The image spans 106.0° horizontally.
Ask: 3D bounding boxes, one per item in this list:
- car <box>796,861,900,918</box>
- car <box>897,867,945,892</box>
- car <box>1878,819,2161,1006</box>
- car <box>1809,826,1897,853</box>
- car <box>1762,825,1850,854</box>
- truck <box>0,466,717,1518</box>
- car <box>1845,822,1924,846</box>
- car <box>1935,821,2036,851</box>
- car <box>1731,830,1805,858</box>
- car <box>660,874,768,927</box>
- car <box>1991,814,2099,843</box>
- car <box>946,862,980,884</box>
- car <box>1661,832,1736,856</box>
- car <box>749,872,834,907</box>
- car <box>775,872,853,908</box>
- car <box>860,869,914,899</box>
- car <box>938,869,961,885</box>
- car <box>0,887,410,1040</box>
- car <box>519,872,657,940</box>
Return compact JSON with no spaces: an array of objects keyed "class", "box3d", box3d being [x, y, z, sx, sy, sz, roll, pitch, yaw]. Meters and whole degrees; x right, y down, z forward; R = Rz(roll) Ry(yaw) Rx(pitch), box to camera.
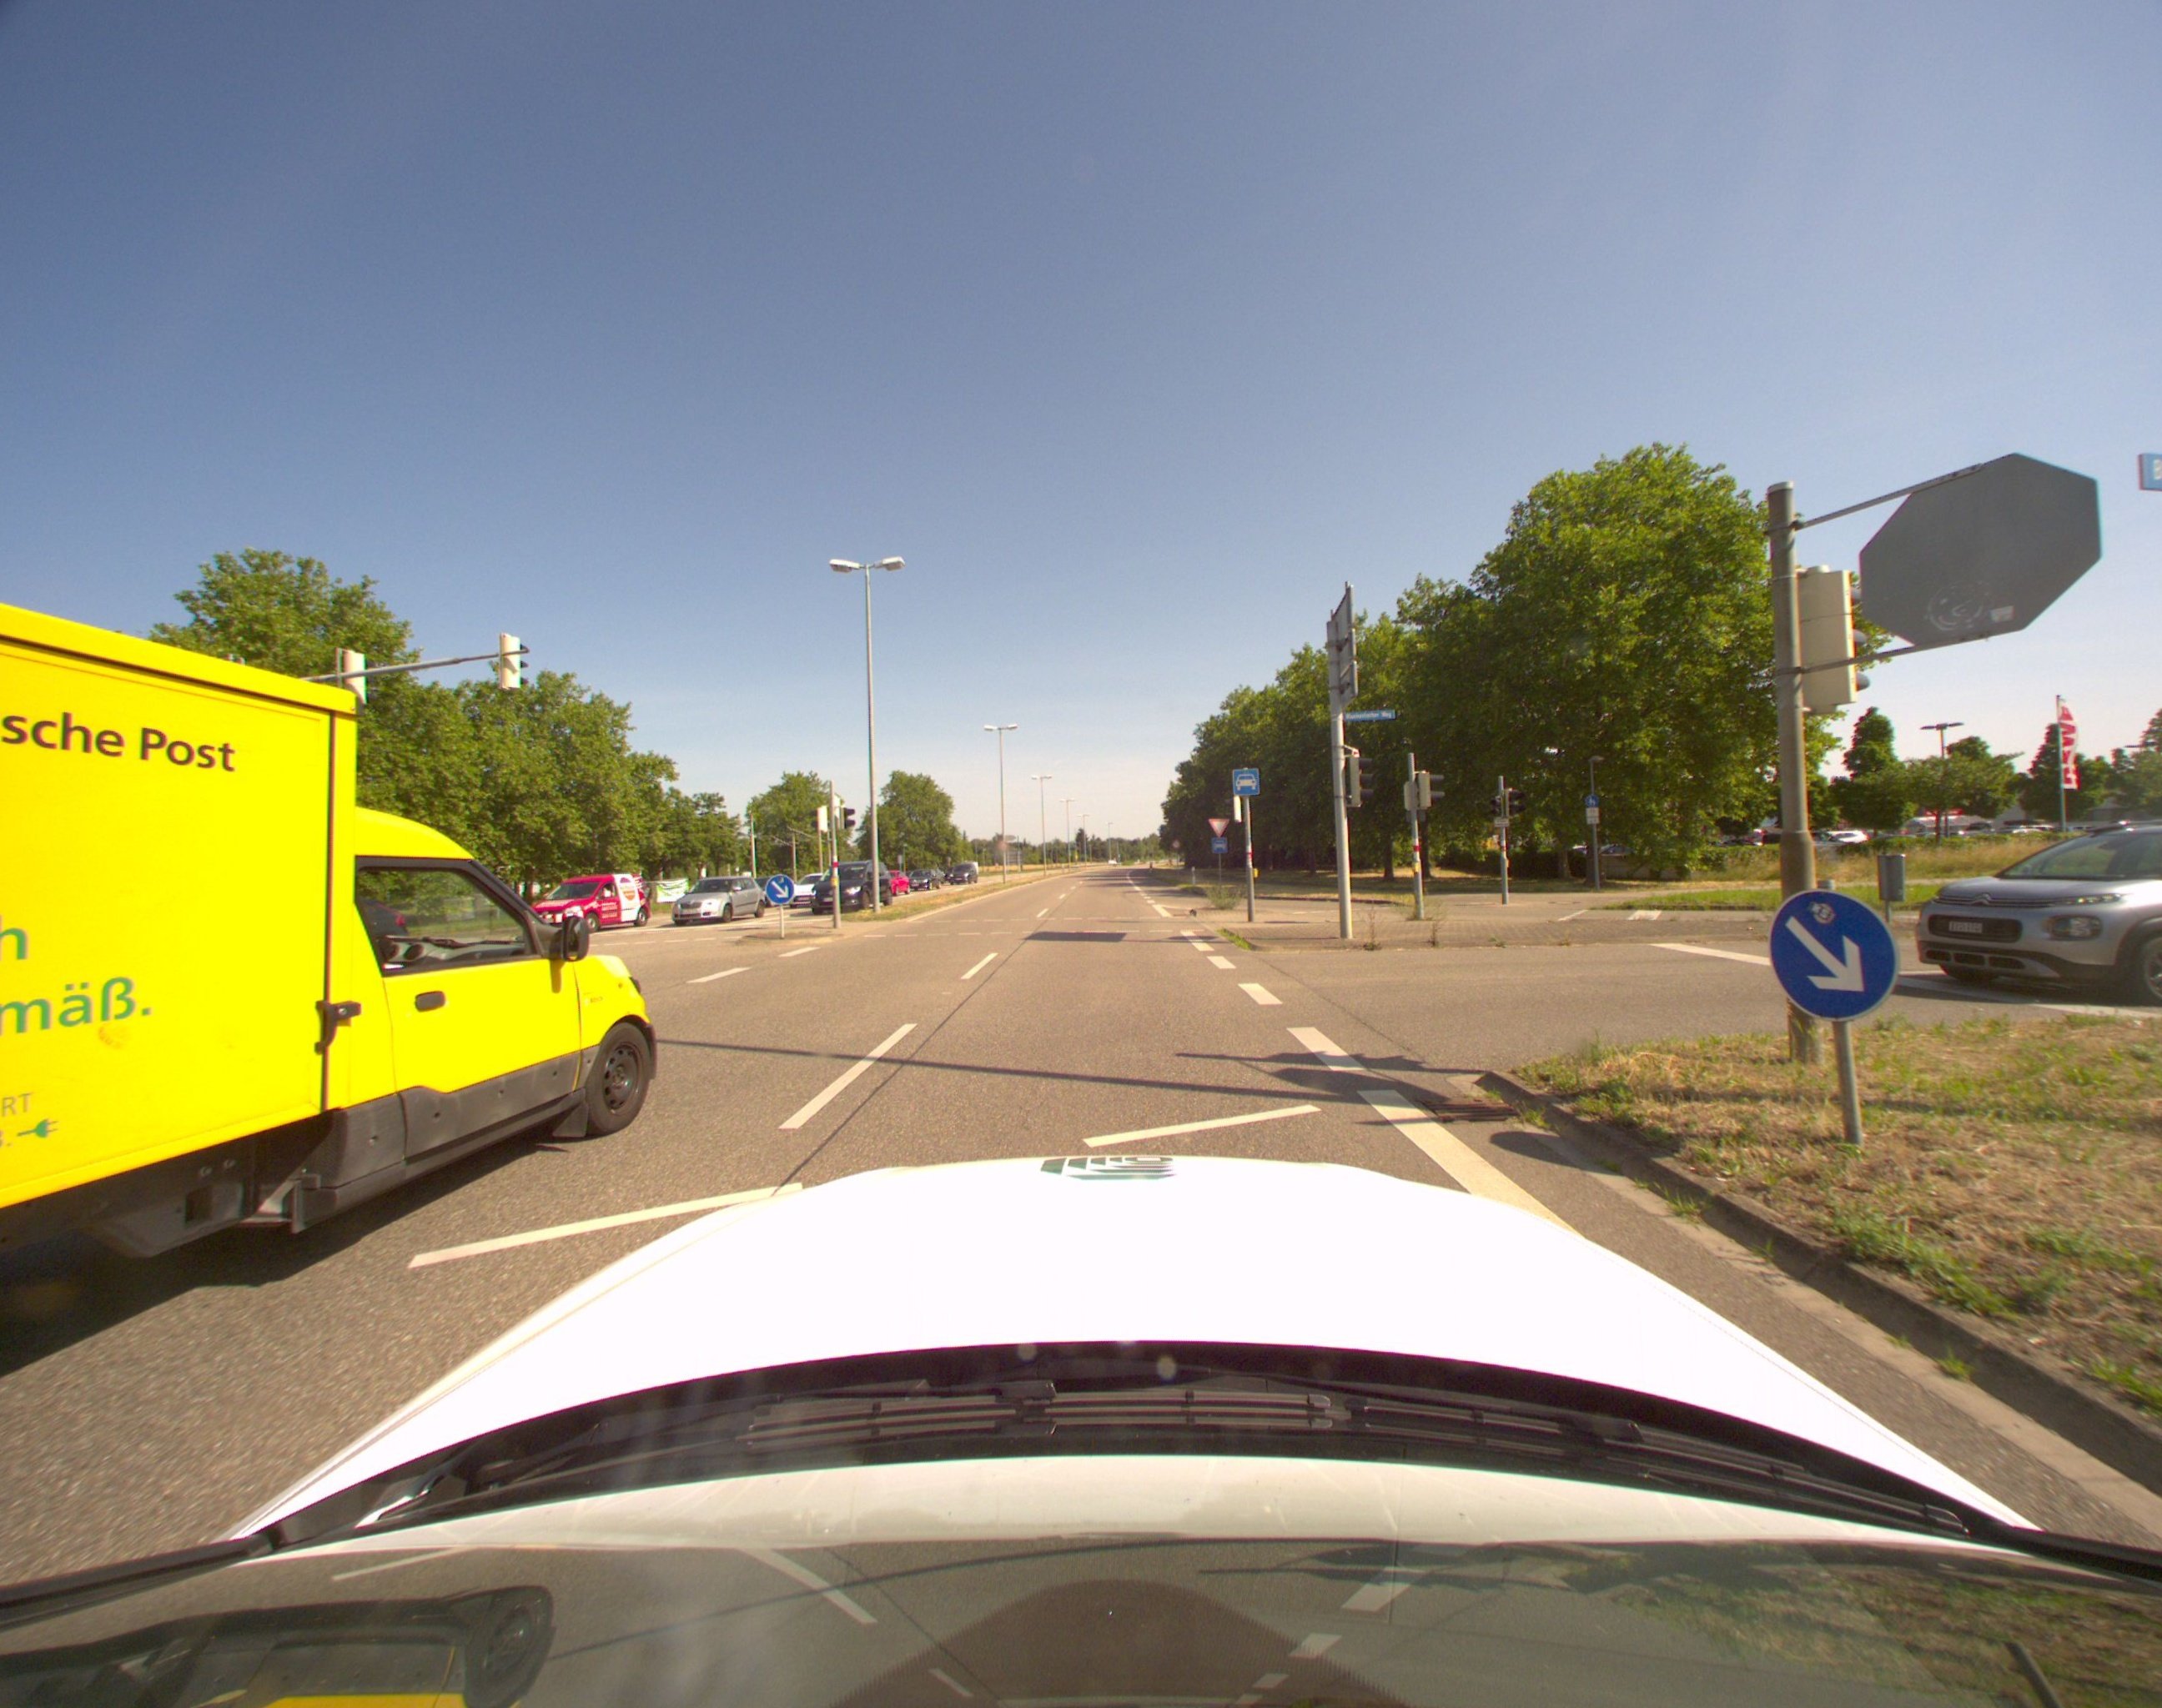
[{"class":"car","box3d":[-7.907,1.139,28.119,1.972,1.750,4.512,-2,-1,4]},{"class":"car","box3d":[-10.587,1.644,54.111,1.972,1.457,4.455,-2,-1,4]},{"class":"car","box3d":[10.568,0.444,7.830,4.037,1.564,1.743,-2,-1,1]},{"class":"car","box3d":[57.933,-1.073,61.202,4.470,1.750,1.991,-2,-1,6]},{"class":"car","box3d":[49.126,-0.970,55.233,3.963,1.728,2.005,-3,-1,9]},{"class":"truck","box3d":[-3.571,0.342,2.489,2.104,2.457,5.918,-1,-1,1]},{"class":"car","box3d":[69.826,-1.717,70.819,4.462,1.750,1.995,-3,-1,12]},{"class":"car","box3d":[58.540,-1.131,52.773,3.963,1.728,2.005,-3,-1,9]},{"class":"car","box3d":[54.581,-0.739,64.797,3.963,2.014,2.005,-3,-1,9]},{"class":"car","box3d":[-11.680,1.440,26.197,1.613,1.457,3.872,-2,-1,1]},{"class":"car","box3d":[68.202,-1.774,57.724,4.452,1.750,1.999,-3,-1,24]},{"class":"car","box3d":[-10.006,1.603,69.379,1.973,1.779,4.493,-2,-1,3]},{"class":"car","box3d":[50.998,-0.824,67.317,4.470,1.750,1.991,-2,-1,6]},{"class":"car","box3d":[-14.090,1.677,40.035,1.986,1.474,5.618,-2,-1,2]},{"class":"car","box3d":[-11.552,1.532,35.482,1.820,1.386,3.847,-2,-1,4]},{"class":"car","box3d":[-10.750,1.611,45.343,1.808,1.485,4.003,-2,-1,3]},{"class":"car","box3d":[-13.409,2.302,83.246,1.979,1.457,4.220,-2,-1,-6]},{"class":"car","box3d":[-11.828,1.282,10.852,1.973,1.457,4.336,-2,-1,4]},{"class":"car","box3d":[-15.087,1.511,25.201,1.700,1.770,4.226,-3,-1,-2]}]
